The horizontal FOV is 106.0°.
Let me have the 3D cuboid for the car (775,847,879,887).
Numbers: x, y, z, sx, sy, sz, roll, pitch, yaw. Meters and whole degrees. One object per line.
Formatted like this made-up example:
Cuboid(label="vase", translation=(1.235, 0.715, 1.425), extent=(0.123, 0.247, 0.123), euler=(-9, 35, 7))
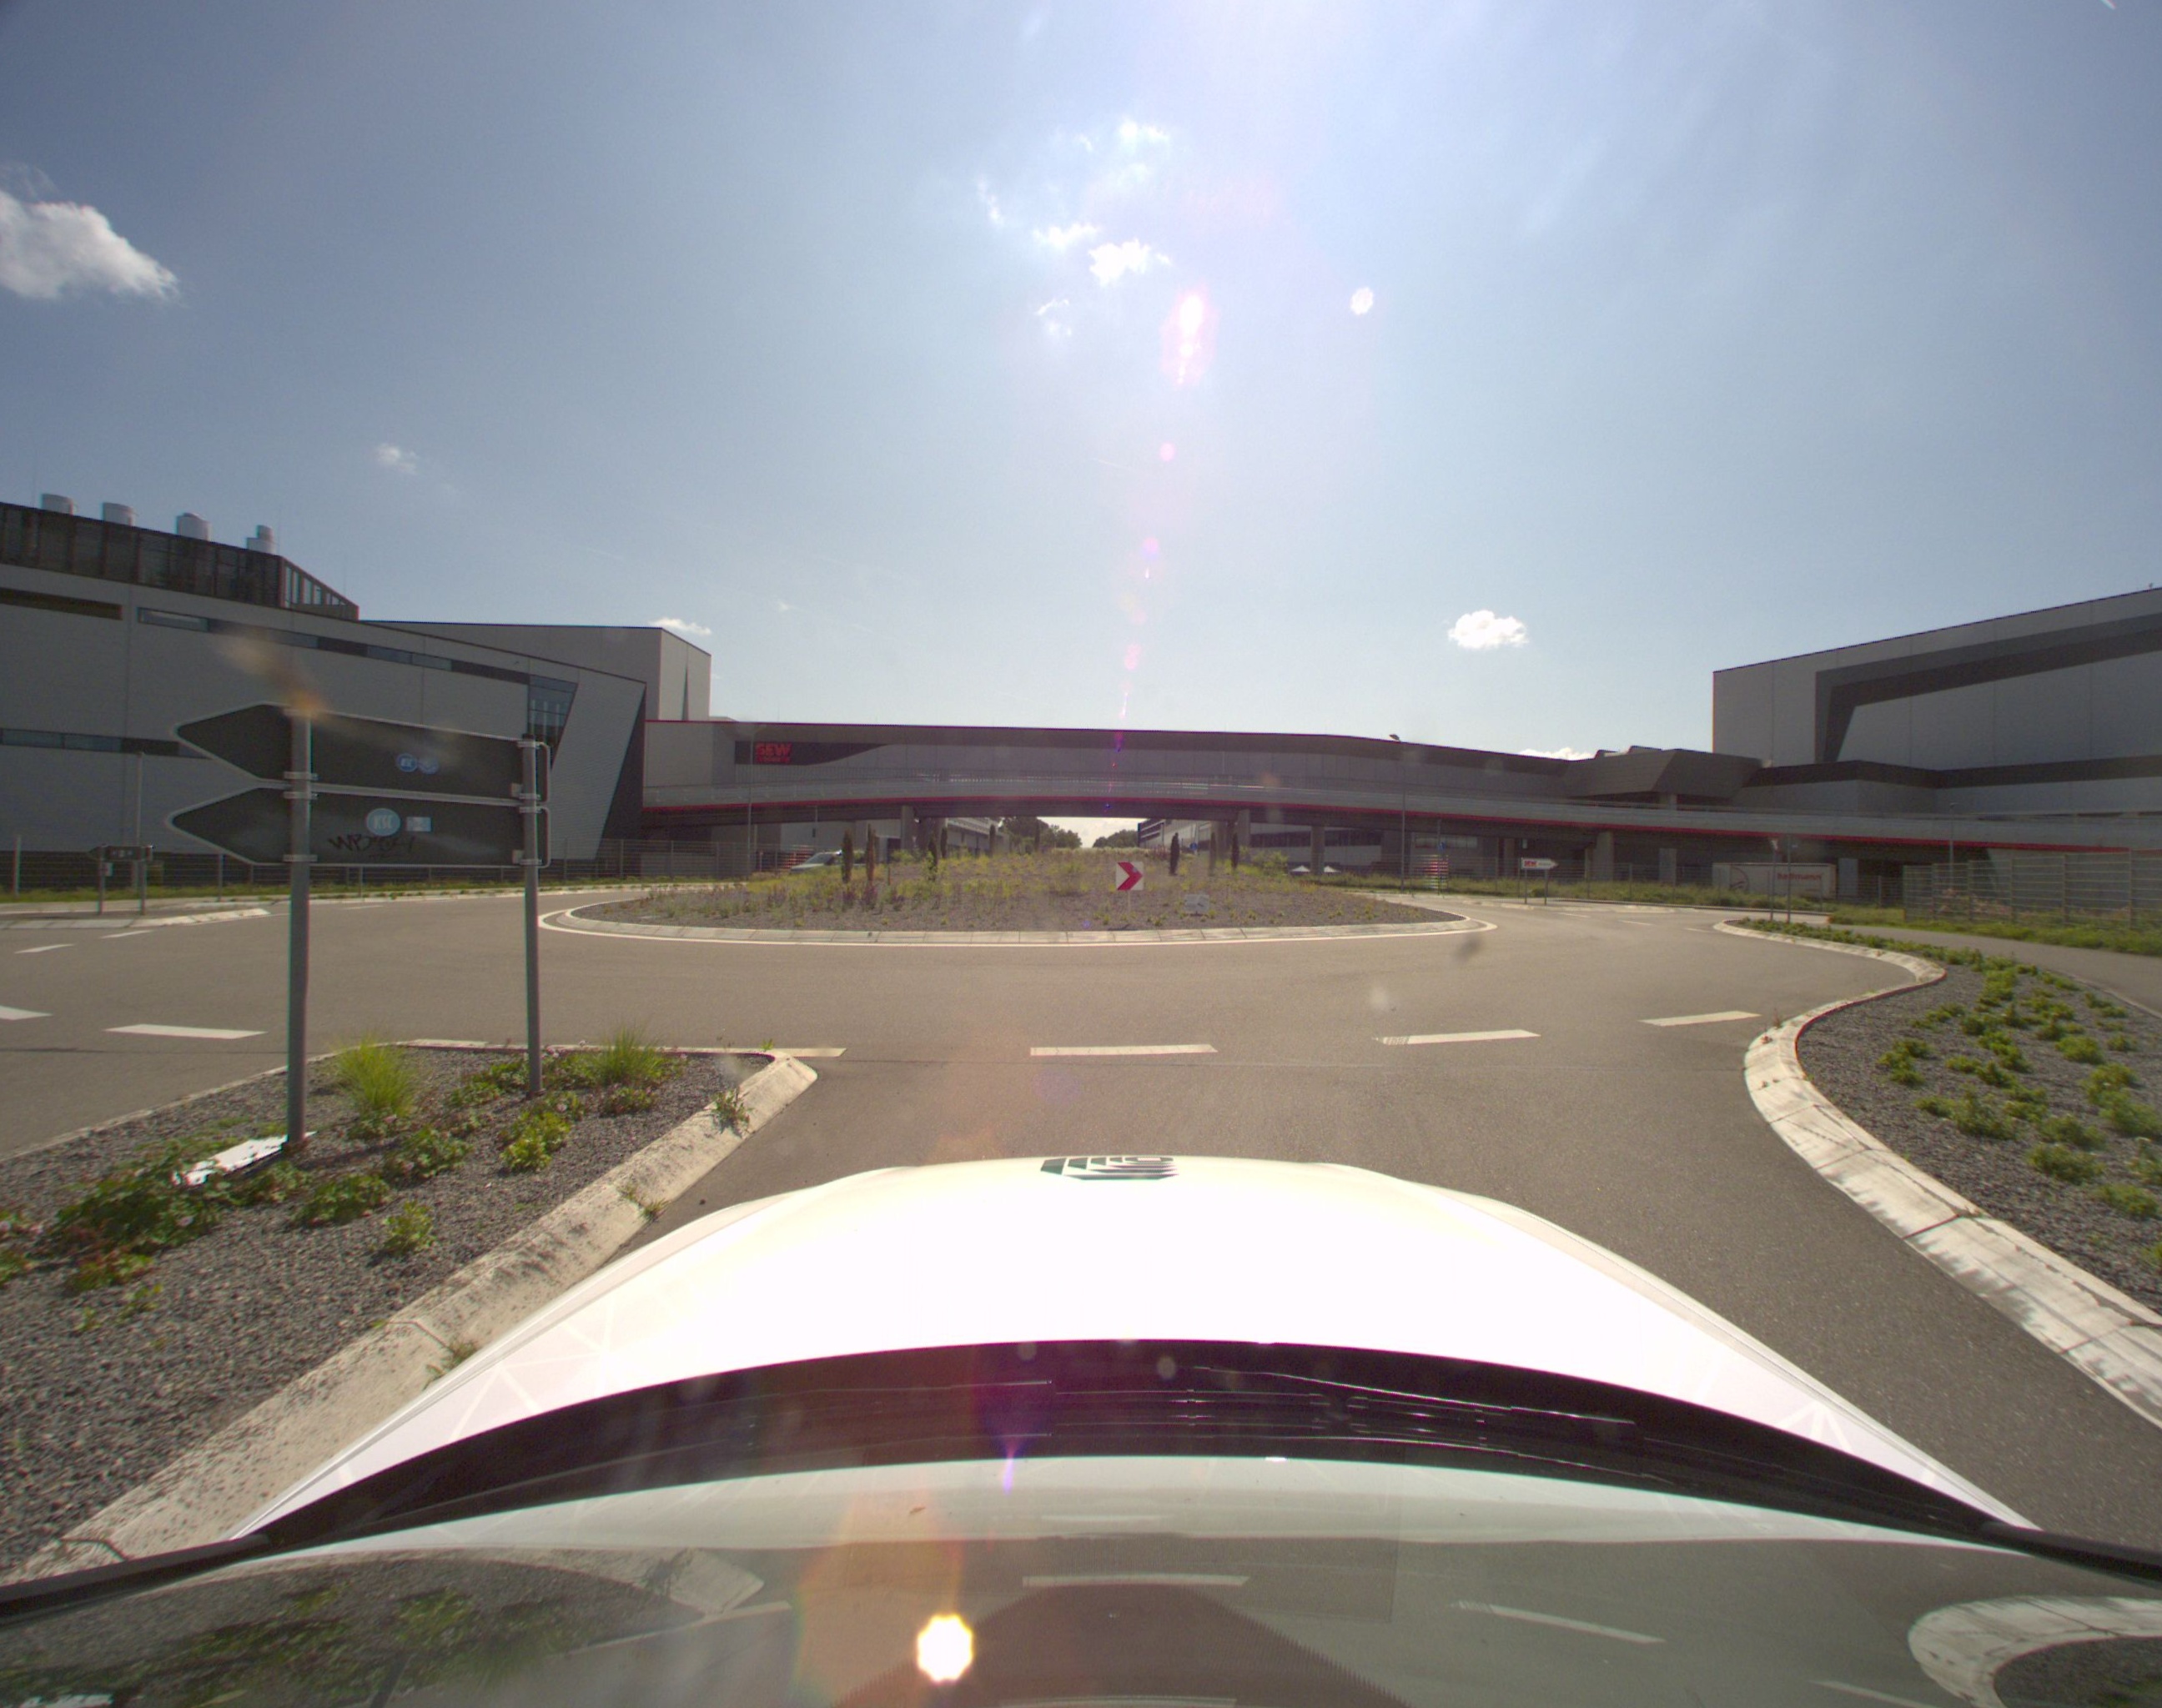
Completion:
Cuboid(label="car", translation=(-12.048, 0.623, 38.950), extent=(1.974, 1.779, 4.589), euler=(0, -1, 30))
